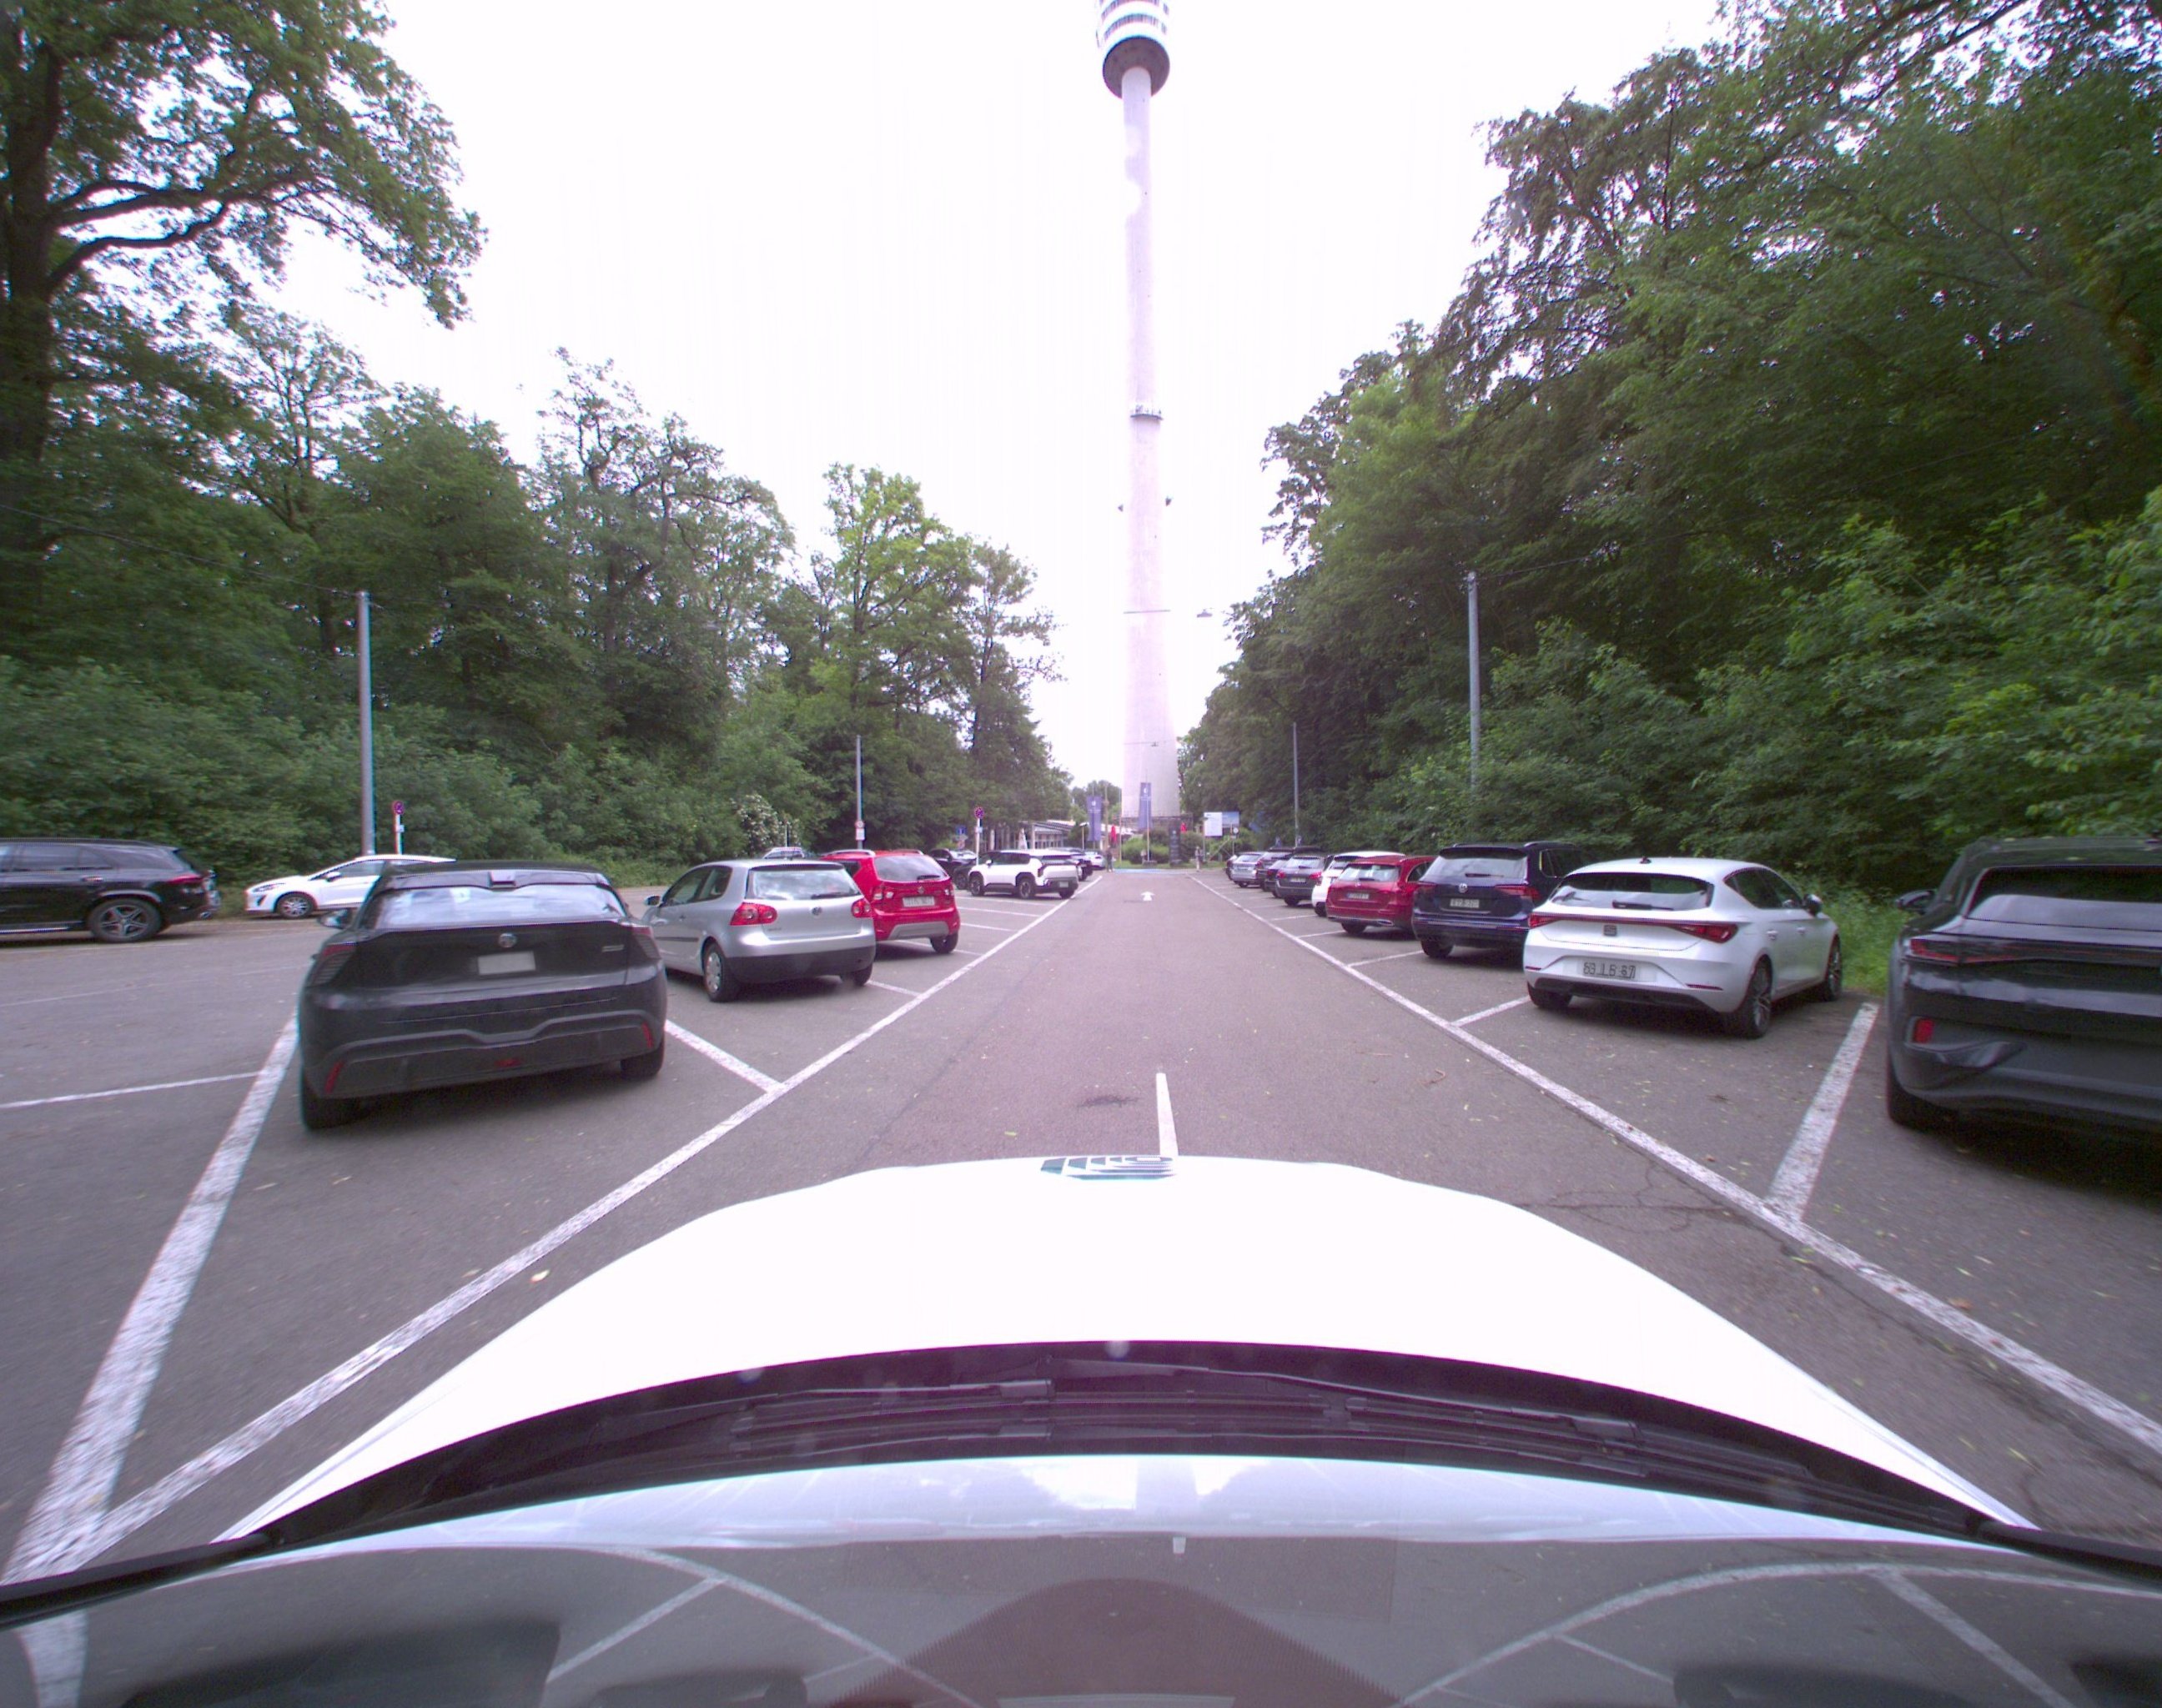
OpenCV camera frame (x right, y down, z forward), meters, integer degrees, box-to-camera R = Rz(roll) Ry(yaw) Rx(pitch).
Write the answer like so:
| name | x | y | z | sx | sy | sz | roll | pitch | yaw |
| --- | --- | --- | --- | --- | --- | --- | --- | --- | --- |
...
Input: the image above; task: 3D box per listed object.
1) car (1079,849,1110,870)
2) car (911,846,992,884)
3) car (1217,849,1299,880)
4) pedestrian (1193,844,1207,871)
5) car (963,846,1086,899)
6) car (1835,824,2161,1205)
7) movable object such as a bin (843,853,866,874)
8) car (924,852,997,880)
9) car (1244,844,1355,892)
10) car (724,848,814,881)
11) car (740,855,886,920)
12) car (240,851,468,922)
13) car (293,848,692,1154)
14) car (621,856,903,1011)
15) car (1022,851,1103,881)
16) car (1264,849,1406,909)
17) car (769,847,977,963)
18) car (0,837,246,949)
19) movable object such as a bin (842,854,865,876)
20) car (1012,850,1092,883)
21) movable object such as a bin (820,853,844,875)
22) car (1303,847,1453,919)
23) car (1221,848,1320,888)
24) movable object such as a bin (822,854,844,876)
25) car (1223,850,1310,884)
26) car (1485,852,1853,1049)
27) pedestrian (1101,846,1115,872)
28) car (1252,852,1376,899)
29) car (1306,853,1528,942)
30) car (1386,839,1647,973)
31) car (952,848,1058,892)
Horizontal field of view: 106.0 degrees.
| name | x | y | z | sx | sy | sz | roll | pitch | yaw |
| --- | --- | --- | --- | --- | --- | --- | --- | --- | --- |
| car | 0.998 | 0.374 | 58.011 | 1.883 | 1.428 | 4.007 | -1 | 1 | 6 |
| car | -6.152 | 0.477 | 38.449 | 1.909 | 1.663 | 3.952 | -1 | 0 | -43 |
| car | 8.952 | 0.475 | 41.043 | 4.226 | 1.462 | 1.877 | -1 | 1 | -40 |
| pedestrian | 7.739 | 0.243 | 53.081 | 0.756 | 1.725 | 0.901 | 0 | 0 | 18 |
| car | -1.932 | 0.563 | 26.823 | 1.857 | 1.596 | 4.139 | -1 | 1 | -43 |
| car | 6.021 | 0.650 | 4.832 | 4.226 | 1.580 | 1.934 | -1 | 0 | -43 |
| movable object such as a bin | -14.588 | 0.616 | 52.434 | 1.252 | 1.325 | 1.143 | -1 | 0 | -8 |
| car | -6.440 | 0.613 | 43.099 | 1.778 | 1.394 | 4.340 | -1 | 0 | -40 |
| car | 8.300 | 0.476 | 30.768 | 4.285 | 1.636 | 1.942 | -1 | 0 | -40 |
| car | -16.449 | 0.519 | 43.045 | 4.092 | 1.685 | 1.858 | -1 | 0 | -39 |
| car | -6.909 | 0.767 | 20.747 | 1.880 | 1.442 | 4.263 | -1 | 1 | -43 |
| car | -17.610 | 0.704 | 19.987 | 4.021 | 1.510 | 1.848 | -1 | 1 | -40 |
| car | -4.456 | 0.734 | 6.242 | 1.839 | 1.523 | 4.054 | 0 | 0 | -38 |
| car | -4.031 | 0.772 | 9.943 | 1.887 | 1.483 | 3.951 | 0 | 0 | -43 |
| car | -0.988 | 0.570 | 41.169 | 1.769 | 1.443 | 4.227 | -1 | 1 | -42 |
| car | 7.135 | 0.626 | 22.688 | 4.209 | 1.457 | 1.783 | -1 | 1 | -40 |
| car | -3.435 | 0.698 | 13.115 | 1.696 | 1.585 | 3.610 | -1 | 1 | -43 |
| car | -17.661 | 0.621 | 13.767 | 4.733 | 1.767 | 2.087 | -1 | 1 | -40 |
| movable object such as a bin | -14.011 | 0.652 | 50.138 | 1.174 | 1.307 | 1.302 | -1 | 0 | -25 |
| car | -1.409 | 0.534 | 38.053 | 1.782 | 1.443 | 3.801 | -1 | 0 | -40 |
| movable object such as a bin | -15.763 | 0.626 | 51.539 | 1.119 | 1.320 | 1.240 | -1 | 0 | 0 |
| car | 7.071 | 0.615 | 19.292 | 3.600 | 1.504 | 1.715 | -1 | 0 | -39 |
| car | 7.879 | 0.536 | 33.686 | 4.018 | 1.467 | 1.815 | -1 | 1 | -36 |
| movable object such as a bin | -15.113 | 0.677 | 49.661 | 1.129 | 1.314 | 1.175 | -1 | 0 | -25 |
| car | 8.500 | 0.560 | 37.214 | 4.021 | 1.422 | 1.887 | -1 | 1 | -41 |
| car | 5.937 | 0.715 | 8.062 | 4.139 | 1.438 | 1.849 | -1 | 0 | -38 |
| pedestrian | 1.794 | 0.306 | 53.764 | 0.892 | 1.725 | 0.763 | 0 | 0 | -3 |
| car | 7.692 | 0.635 | 26.700 | 4.286 | 1.377 | 1.942 | -1 | 1 | -43 |
| car | 6.368 | 0.697 | 15.258 | 4.315 | 1.414 | 1.907 | -1 | 0 | -36 |
| car | 6.430 | 0.611 | 11.863 | 4.139 | 1.618 | 1.821 | -1 | 0 | -38 |
| car | -2.971 | 0.567 | 31.294 | 3.949 | 1.554 | 1.885 | 0 | 1 | 43 |
